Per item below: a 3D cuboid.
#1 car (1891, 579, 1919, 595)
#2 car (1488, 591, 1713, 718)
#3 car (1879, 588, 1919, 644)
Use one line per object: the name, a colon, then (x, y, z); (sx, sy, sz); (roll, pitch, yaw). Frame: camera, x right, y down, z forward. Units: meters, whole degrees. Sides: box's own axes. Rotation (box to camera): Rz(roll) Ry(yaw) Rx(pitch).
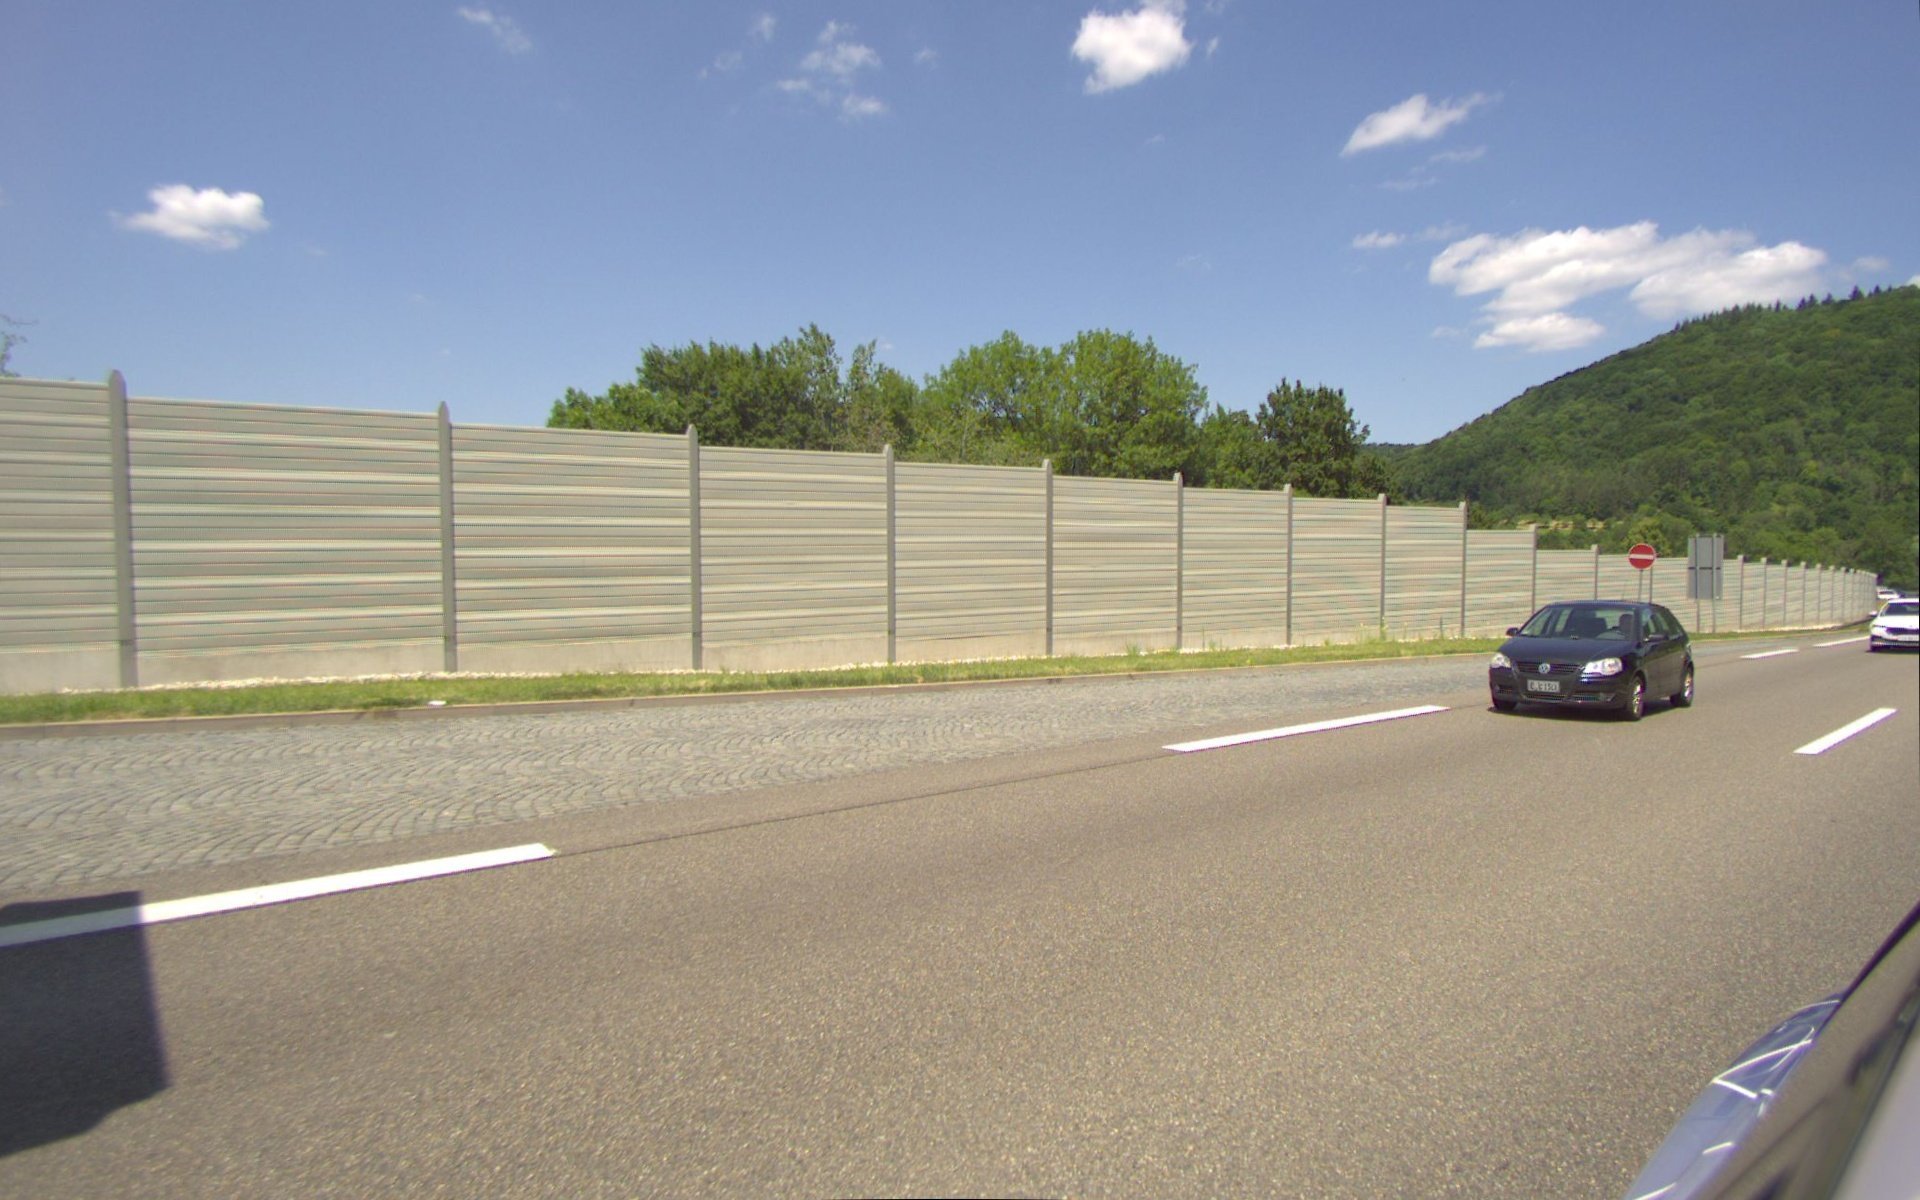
car: (125.712, -1.671, 134.489); (1.981, 2.039, 3.961); (-1, 0, 28)
car: (8.606, 0.609, 13.480); (3.775, 1.440, 1.693); (-1, 0, -44)
car: (26.370, 0.421, 27.340); (3.657, 1.448, 1.905); (0, 0, -42)
